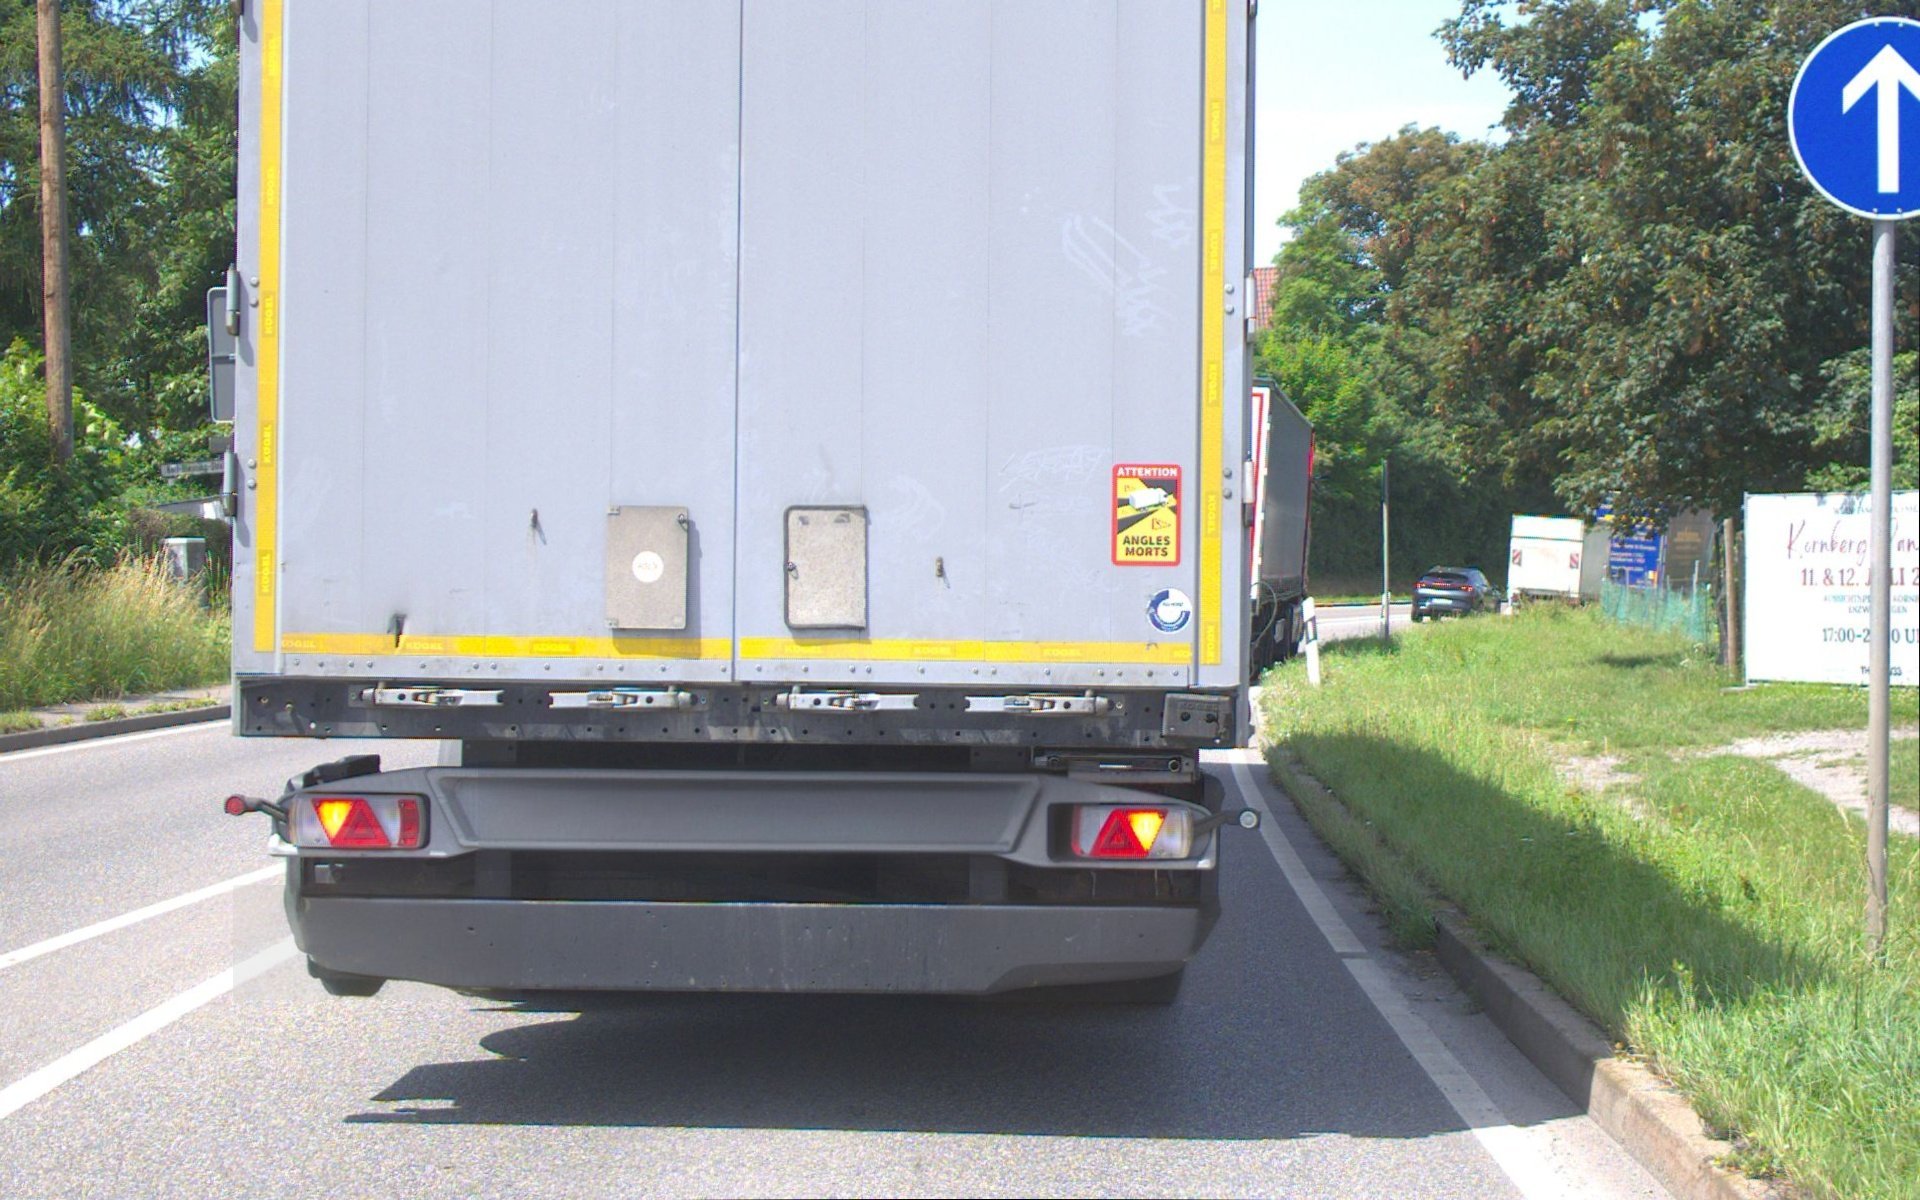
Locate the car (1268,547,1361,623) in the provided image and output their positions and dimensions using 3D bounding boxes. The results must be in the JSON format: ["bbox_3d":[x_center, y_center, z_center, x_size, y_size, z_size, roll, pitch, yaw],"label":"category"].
[{"bbox_3d":[9.036,-0.411,87.316,1.994,1.831,3.998,1,2,11],"label":"car"}]

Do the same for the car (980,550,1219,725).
[{"bbox_3d":[1.404,0.310,33.026,1.994,1.525,3.999,0,1,7],"label":"car"}]

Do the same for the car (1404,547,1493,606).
[{"bbox_3d":[13.050,-0.640,91.689,1.842,1.481,3.997,1,1,15],"label":"car"}]

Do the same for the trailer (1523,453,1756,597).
[{"bbox_3d":[23.651,-2.616,118.589,5.185,4.612,15.879,1,2,21],"label":"trailer"}]

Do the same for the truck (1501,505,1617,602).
[{"bbox_3d":[17.986,-1.426,103.033,2.423,2.828,5.407,1,2,21],"label":"truck"}]

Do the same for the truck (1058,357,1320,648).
[{"bbox_3d":[3.961,-1.586,57.566,3.938,4.559,7.150,0,1,7],"label":"truck"}]

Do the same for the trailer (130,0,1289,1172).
[{"bbox_3d":[-0.390,-0.881,14.299,2.787,4.191,12.111,0,1,2],"label":"trailer"}]

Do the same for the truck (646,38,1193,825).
[{"bbox_3d":[-0.023,-0.977,21.330,2.746,4.151,6.142,1,1,5],"label":"truck"}]

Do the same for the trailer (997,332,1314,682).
[{"bbox_3d":[3.177,-1.382,50.886,3.892,4.505,12.711,0,2,7],"label":"trailer"}]
